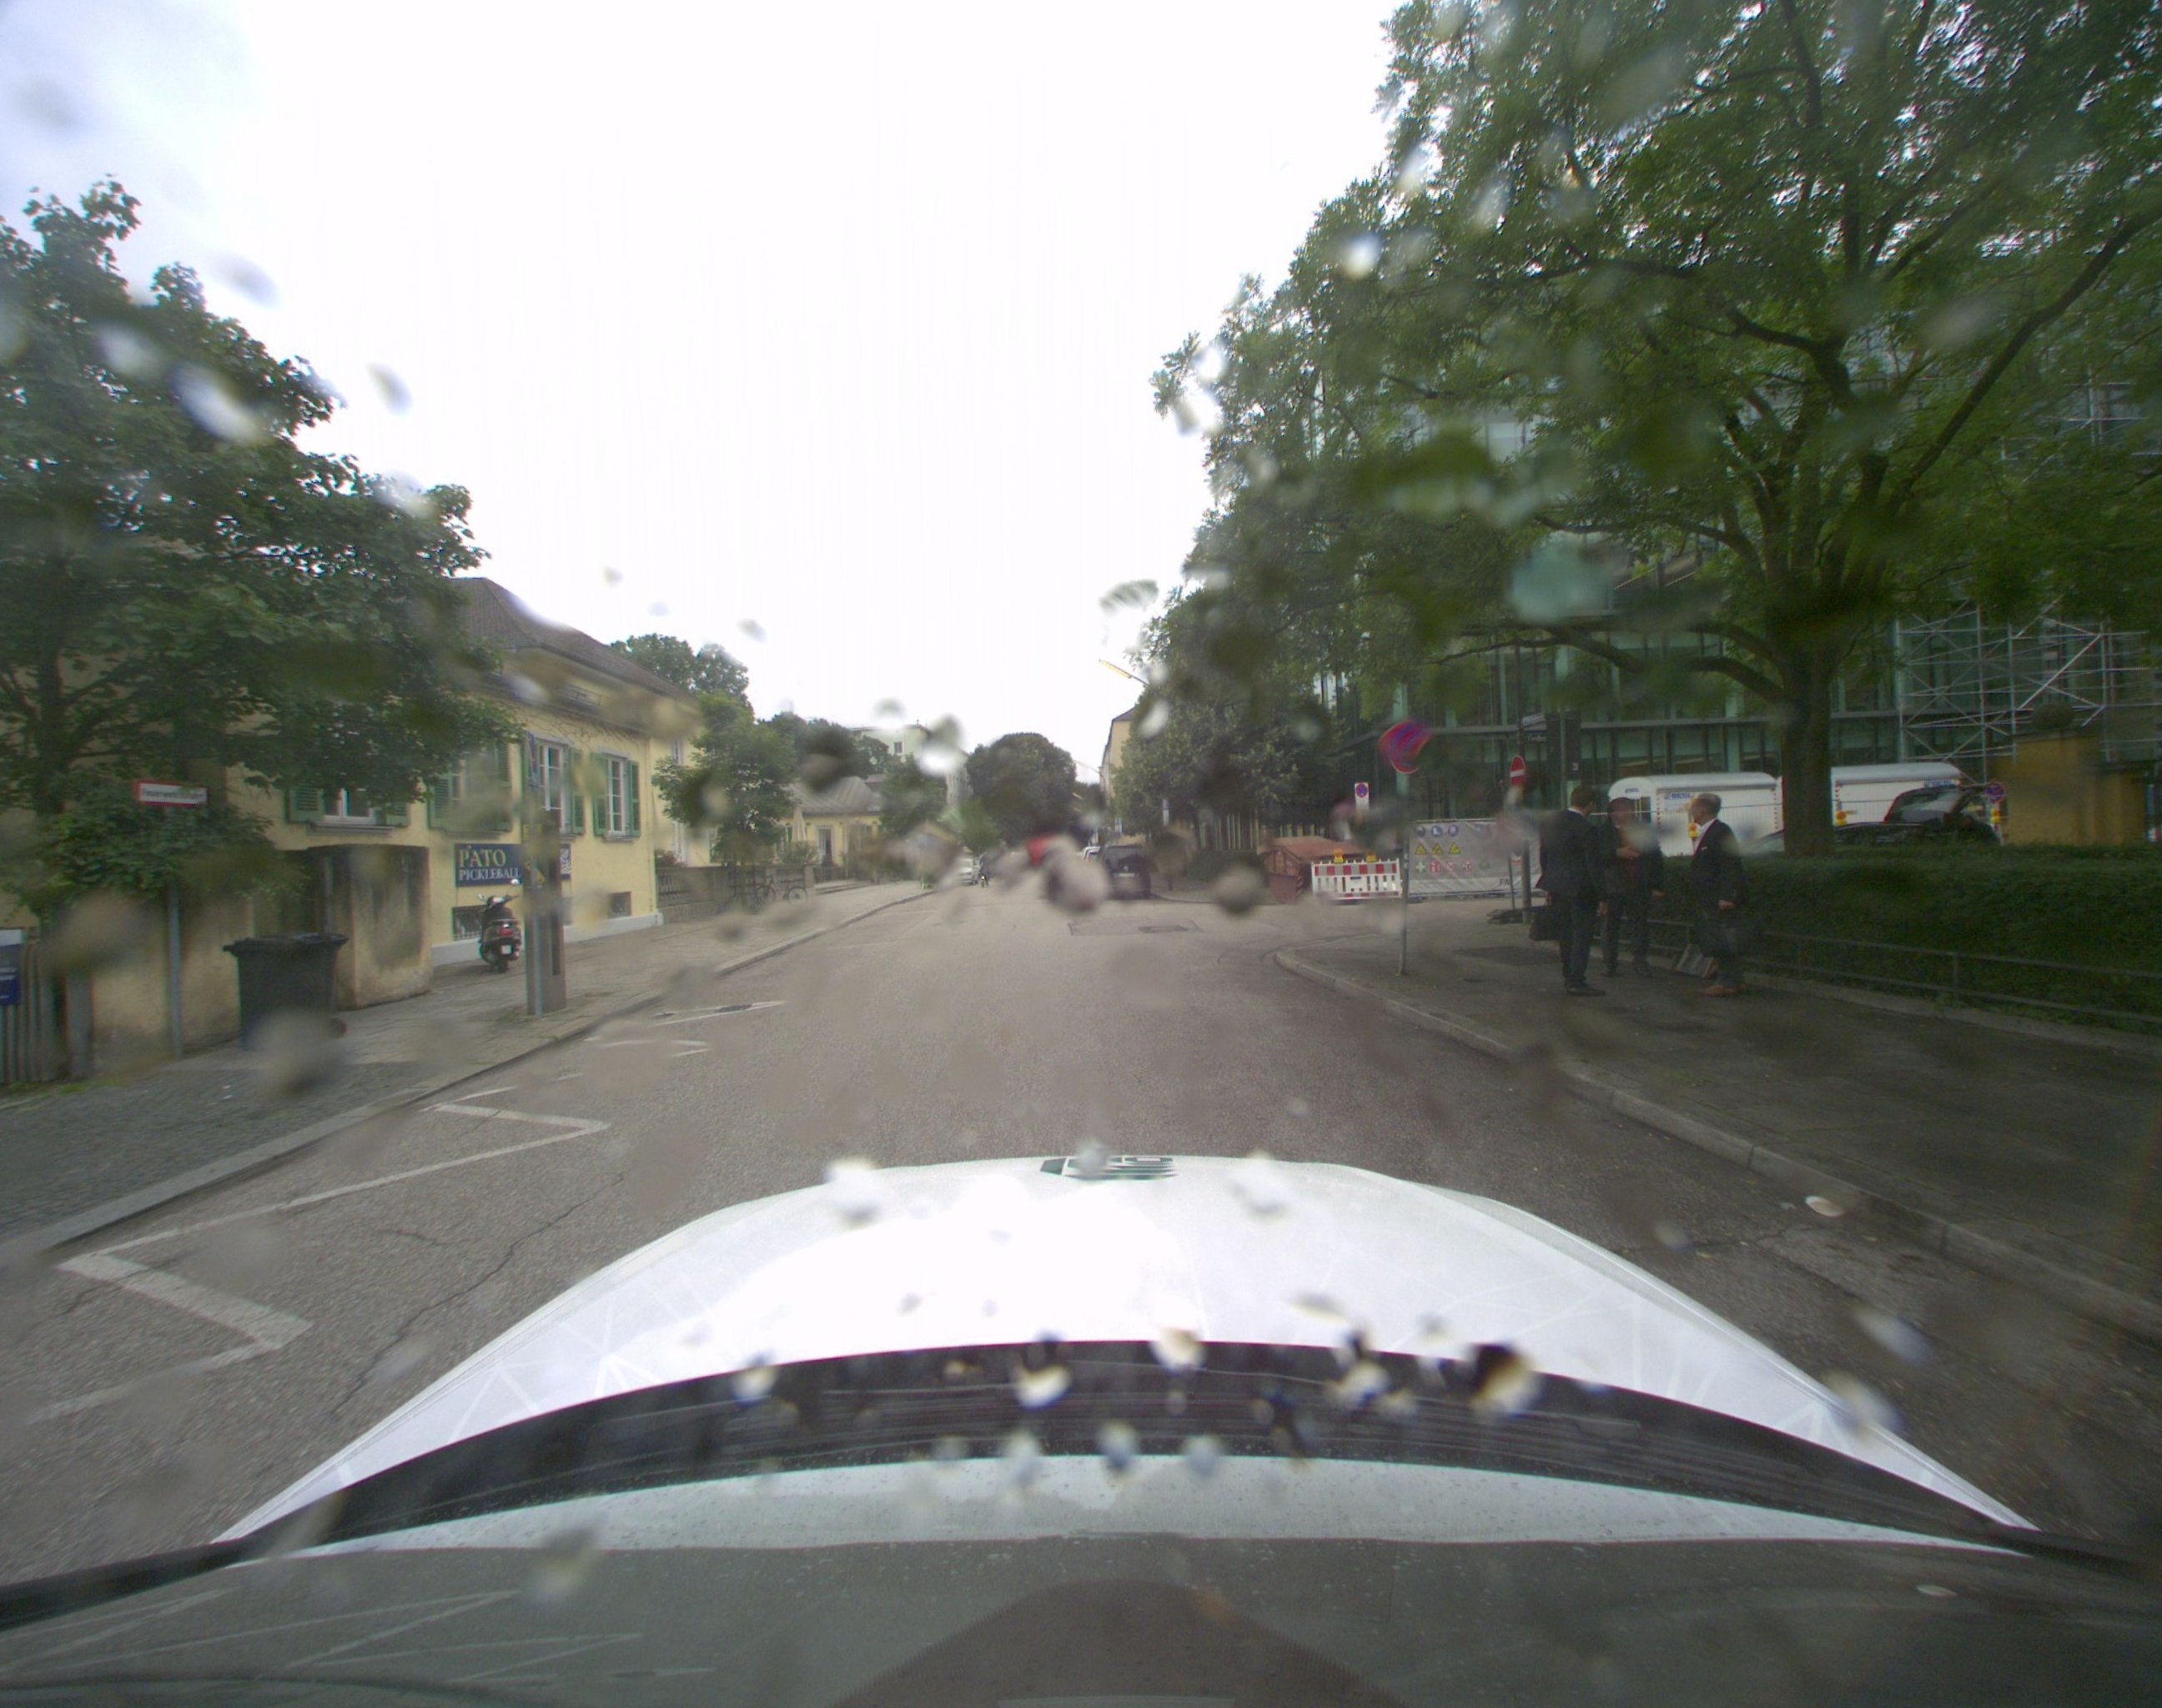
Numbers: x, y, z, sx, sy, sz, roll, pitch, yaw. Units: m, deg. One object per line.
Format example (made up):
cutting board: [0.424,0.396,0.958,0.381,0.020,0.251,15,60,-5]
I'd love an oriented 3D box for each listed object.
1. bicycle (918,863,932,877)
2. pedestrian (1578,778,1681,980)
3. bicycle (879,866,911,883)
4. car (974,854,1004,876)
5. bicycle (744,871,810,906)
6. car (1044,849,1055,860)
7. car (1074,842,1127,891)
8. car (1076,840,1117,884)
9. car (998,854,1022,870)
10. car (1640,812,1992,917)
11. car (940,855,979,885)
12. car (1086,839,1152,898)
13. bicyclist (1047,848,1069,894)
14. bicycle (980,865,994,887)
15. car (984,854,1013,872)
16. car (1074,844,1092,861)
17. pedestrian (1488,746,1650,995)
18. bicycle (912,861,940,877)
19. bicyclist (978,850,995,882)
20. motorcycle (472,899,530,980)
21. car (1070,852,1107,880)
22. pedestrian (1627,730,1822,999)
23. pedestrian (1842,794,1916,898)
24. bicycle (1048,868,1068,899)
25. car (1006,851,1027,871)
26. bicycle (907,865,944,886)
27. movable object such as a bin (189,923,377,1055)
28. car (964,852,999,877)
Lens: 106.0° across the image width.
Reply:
bicycle: [-11.036,1.137,57.699,0.619,1.004,1.619,-2,-1,1]
pedestrian: [5.557,0.234,8.316,0.735,1.907,1.062,-3,0,31]
bicycle: [-10.516,1.153,45.955,1.623,0.926,0.645,-2,-1,-29]
car: [-7.232,0.862,64.288,1.989,1.603,3.995,-2,-1,-3]
bicycle: [-9.925,1.113,26.602,1.925,1.099,0.614,0,0,-2]
car: [-5.815,0.089,151.186,1.988,2.099,3.997,1,0,-2]
car: [0.717,0.455,32.839,1.858,1.793,4.507,-2,0,-2]
car: [0.683,0.347,39.056,1.744,1.943,4.226,-2,0,-1]
car: [-7.154,0.787,81.884,1.987,1.486,4.000,-2,0,0]
car: [12.141,0.170,13.676,4.191,1.486,1.869,-2,-1,0]
car: [-6.858,0.890,46.311,1.729,1.581,3.785,1,0,-1]
car: [1.239,0.456,28.050,1.757,1.823,4.133,-1,0,-4]
bicyclist: [-0.790,0.587,27.821,0.669,1.497,1.094,-2,-1,-1]
bicycle: [-4.792,1.103,41.414,0.620,1.004,2.136,-2,0,-5]
car: [-7.149,0.746,70.986,1.986,1.486,4.002,0,0,2]
car: [0.226,-0.159,102.089,1.990,2.060,4.617,-2,0,-4]
pedestrian: [4.518,0.137,7.626,0.741,2.134,1.054,-3,0,-5]
bicycle: [-10.044,0.975,52.678,1.625,1.004,0.617,-2,-2,-33]
bicyclist: [-4.815,0.606,41.637,0.742,1.576,0.975,-2,0,-5]
motorcycle: [-9.108,1.298,12.769,0.562,1.101,1.816,-1,0,-41]
car: [0.363,0.628,44.572,1.858,1.440,4.252,-1,0,-2]
pedestrian: [5.553,0.080,7.101,0.741,2.134,1.054,-3,0,-5]
pedestrian: [14.419,-0.145,14.727,0.673,1.809,0.679,-4,0,-24]
bicycle: [-0.781,0.992,27.822,0.620,1.004,2.138,-2,-1,-2]
car: [-7.131,0.768,90.487,1.988,2.079,3.997,-2,0,-2]
bicycle: [-7.924,1.104,41.697,0.616,1.004,2.153,1,1,29]
movable object such as a bin: [-7.625,1.262,7.840,0.934,1.063,0.838,-2,1,-7]
car: [-7.153,0.737,58.903,1.988,1.648,4.652,-2,0,-2]
